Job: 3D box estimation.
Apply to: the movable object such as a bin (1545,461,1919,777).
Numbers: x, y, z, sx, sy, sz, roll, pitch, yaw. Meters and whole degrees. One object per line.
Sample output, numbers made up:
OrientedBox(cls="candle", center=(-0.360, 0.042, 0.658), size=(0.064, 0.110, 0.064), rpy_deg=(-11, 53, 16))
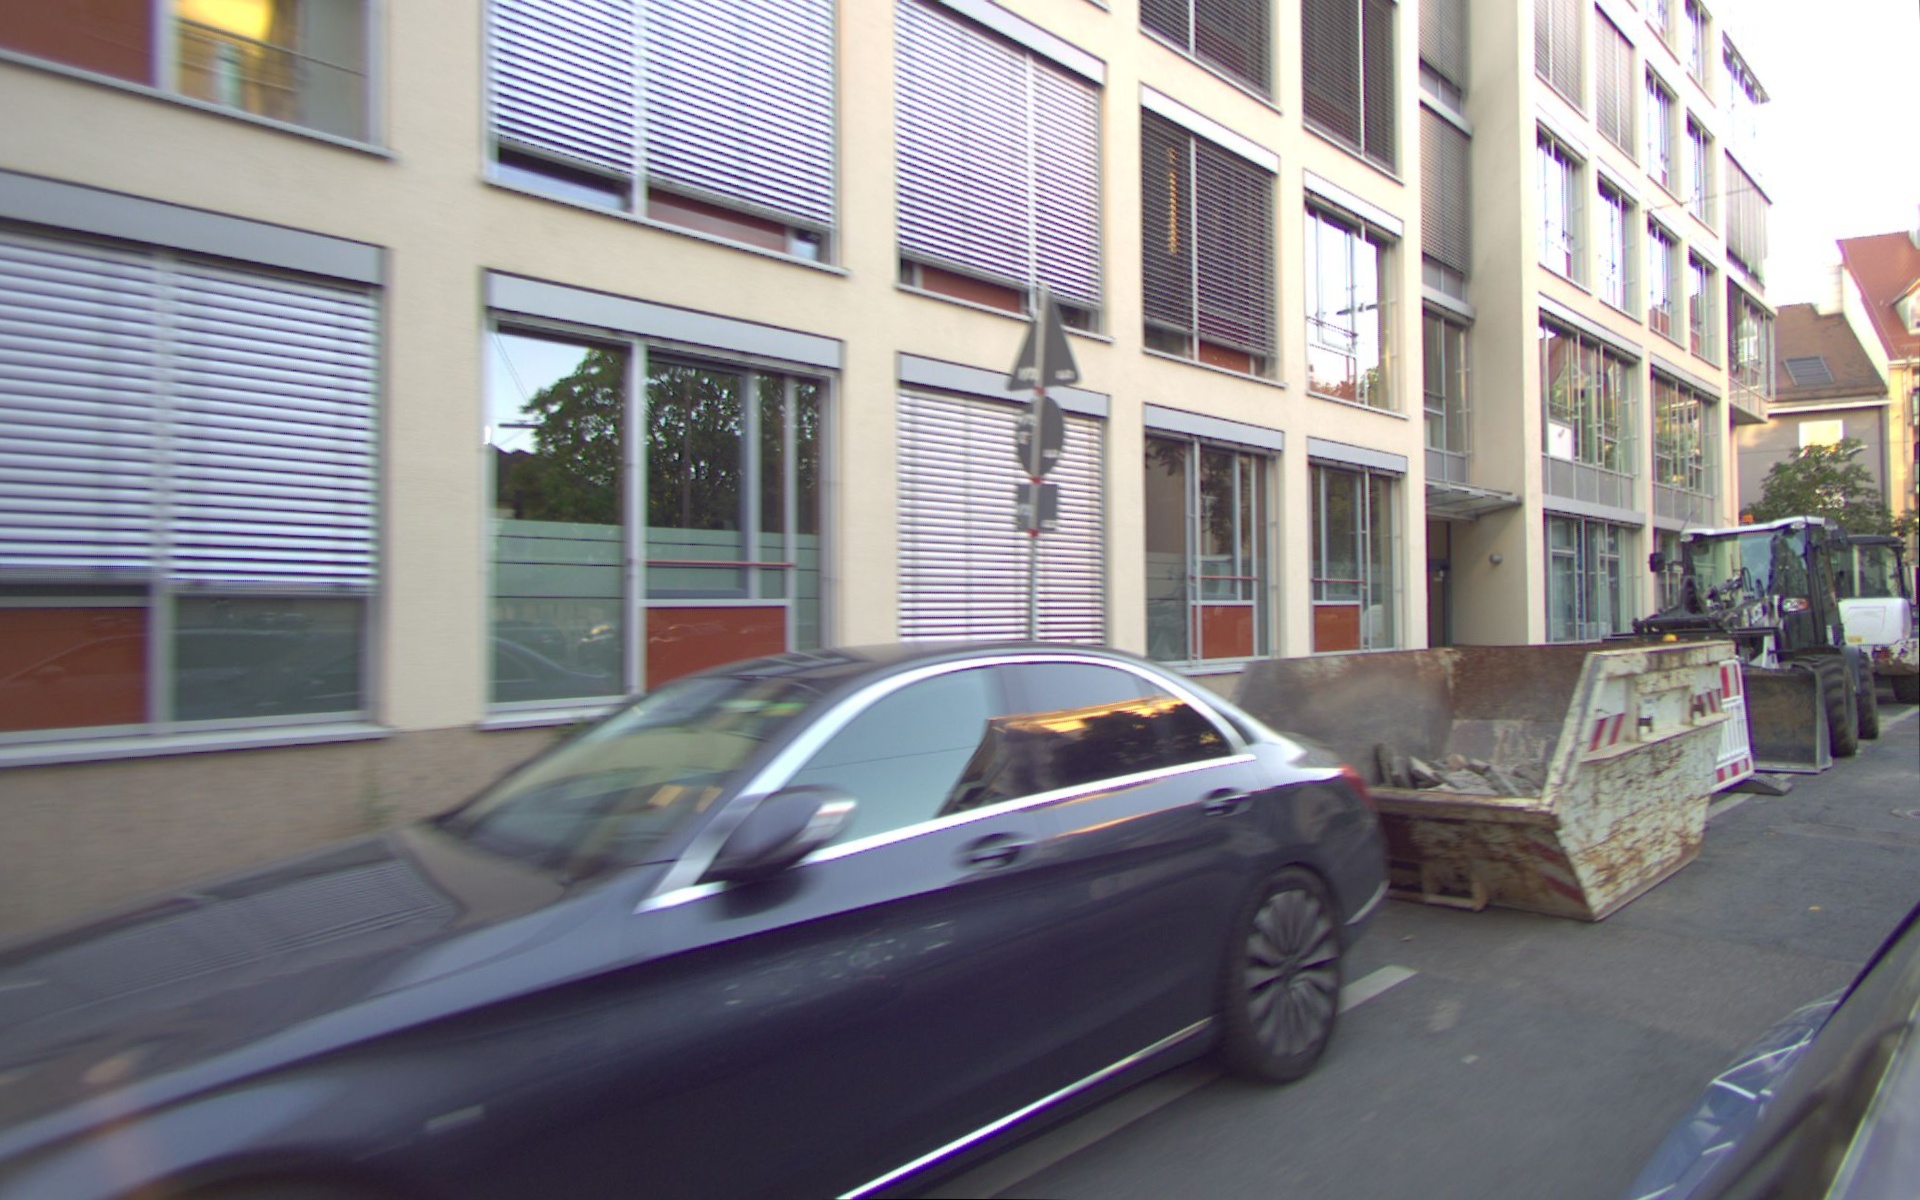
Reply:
OrientedBox(cls="movable object such as a bin", center=(8.631, 0.164, 11.059), size=(5.445, 2.629, 2.170), rpy_deg=(0, -1, -41))

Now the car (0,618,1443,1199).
OrientedBox(cls="car", center=(-0.469, 0.804, 2.990), size=(4.399, 1.424, 1.697), rpy_deg=(0, -2, -39))

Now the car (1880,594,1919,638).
OrientedBox(cls="car", center=(37.152, 0.600, 38.983), size=(1.729, 1.545, 3.330), rpy_deg=(-1, 1, 28))

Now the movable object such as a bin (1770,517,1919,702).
OrientedBox(cls="movable object such as a bin", center=(14.971, 0.141, 16.573), size=(4.036, 2.668, 1.800), rpy_deg=(0, -1, -39))
